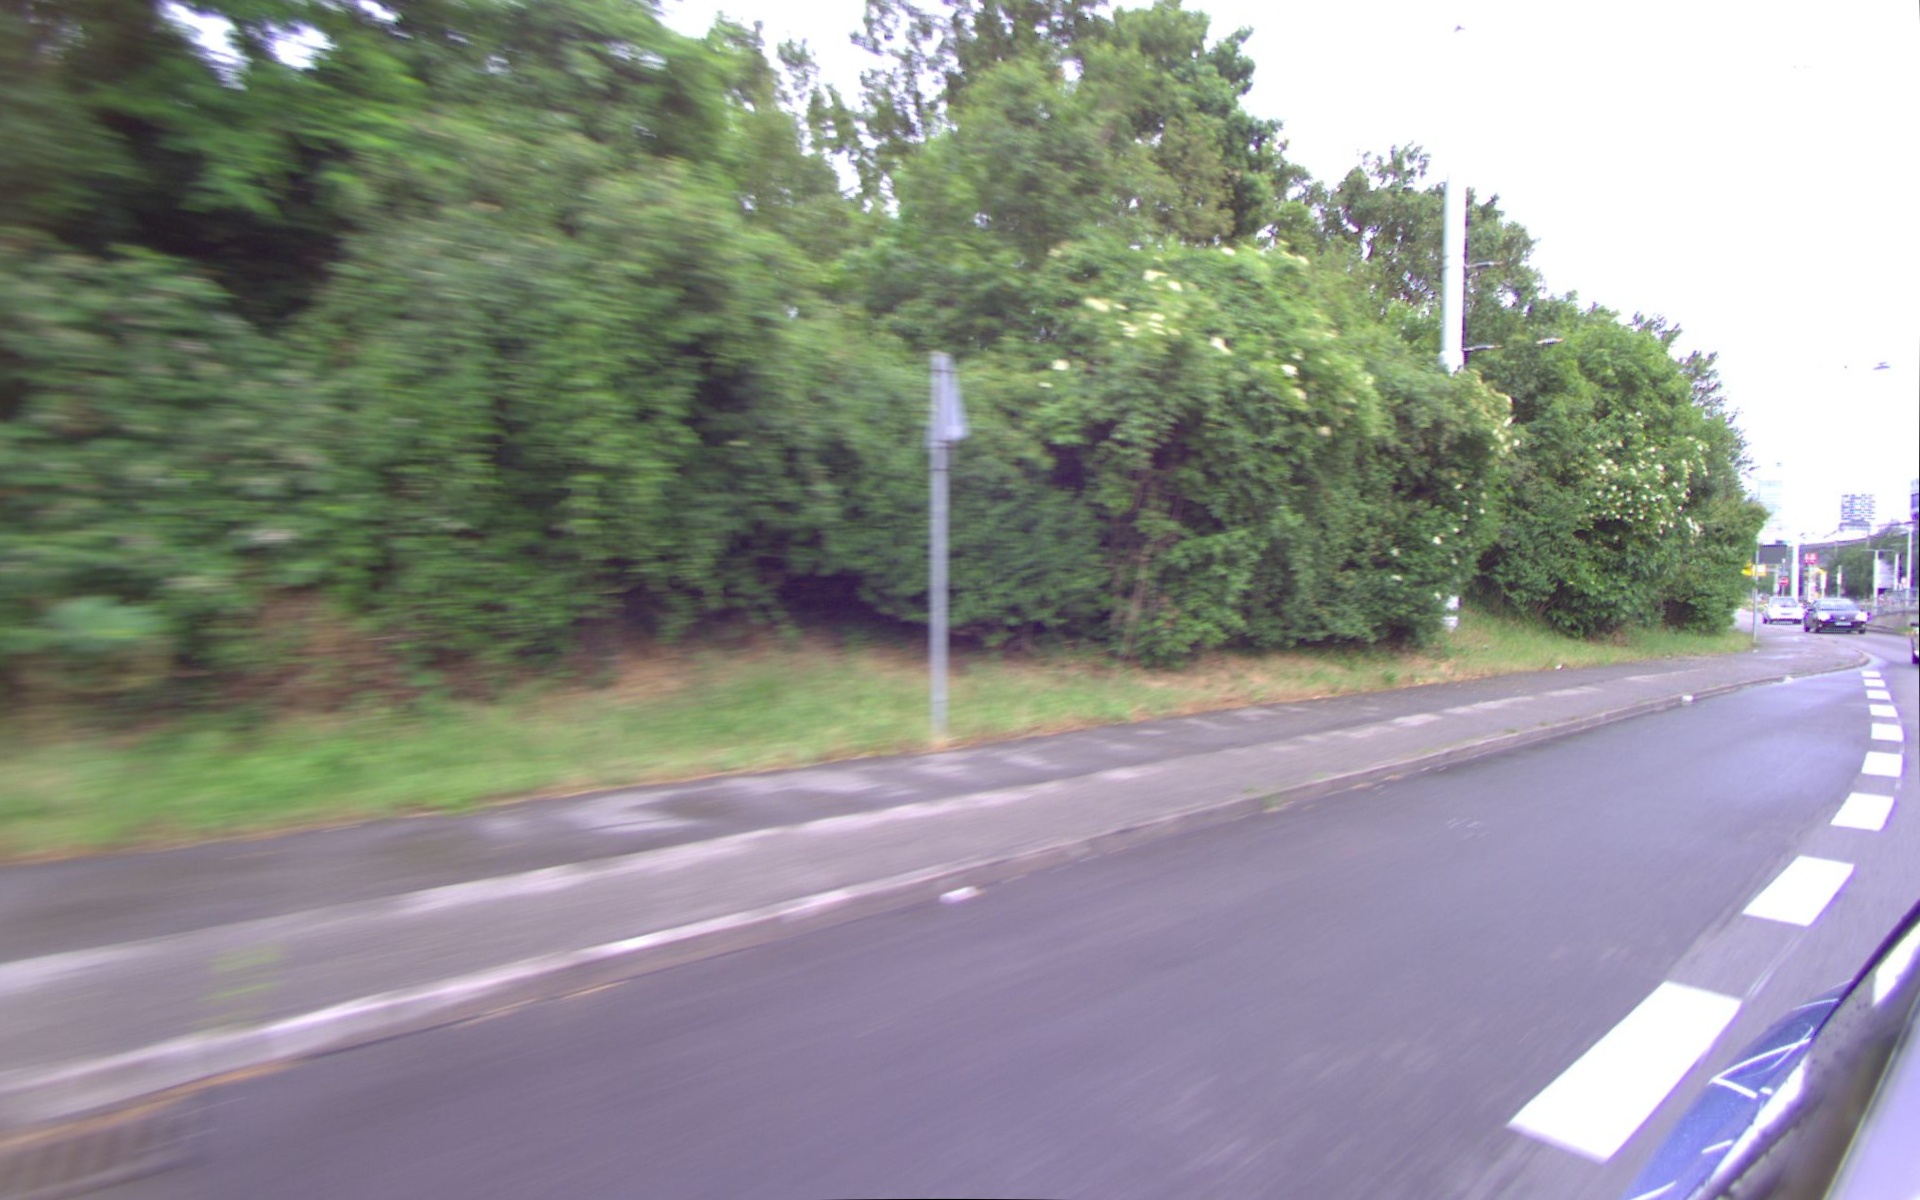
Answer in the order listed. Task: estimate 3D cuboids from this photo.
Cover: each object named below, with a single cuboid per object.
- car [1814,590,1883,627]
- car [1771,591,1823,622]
[{"bbox_3d":[38.357,0.328,43.764,1.770,1.520,3.950,0,1,35],"label":"car"},{"bbox_3d":[47.312,0.359,57.277,1.988,1.591,3.947,-2,0,37],"label":"car"}]
